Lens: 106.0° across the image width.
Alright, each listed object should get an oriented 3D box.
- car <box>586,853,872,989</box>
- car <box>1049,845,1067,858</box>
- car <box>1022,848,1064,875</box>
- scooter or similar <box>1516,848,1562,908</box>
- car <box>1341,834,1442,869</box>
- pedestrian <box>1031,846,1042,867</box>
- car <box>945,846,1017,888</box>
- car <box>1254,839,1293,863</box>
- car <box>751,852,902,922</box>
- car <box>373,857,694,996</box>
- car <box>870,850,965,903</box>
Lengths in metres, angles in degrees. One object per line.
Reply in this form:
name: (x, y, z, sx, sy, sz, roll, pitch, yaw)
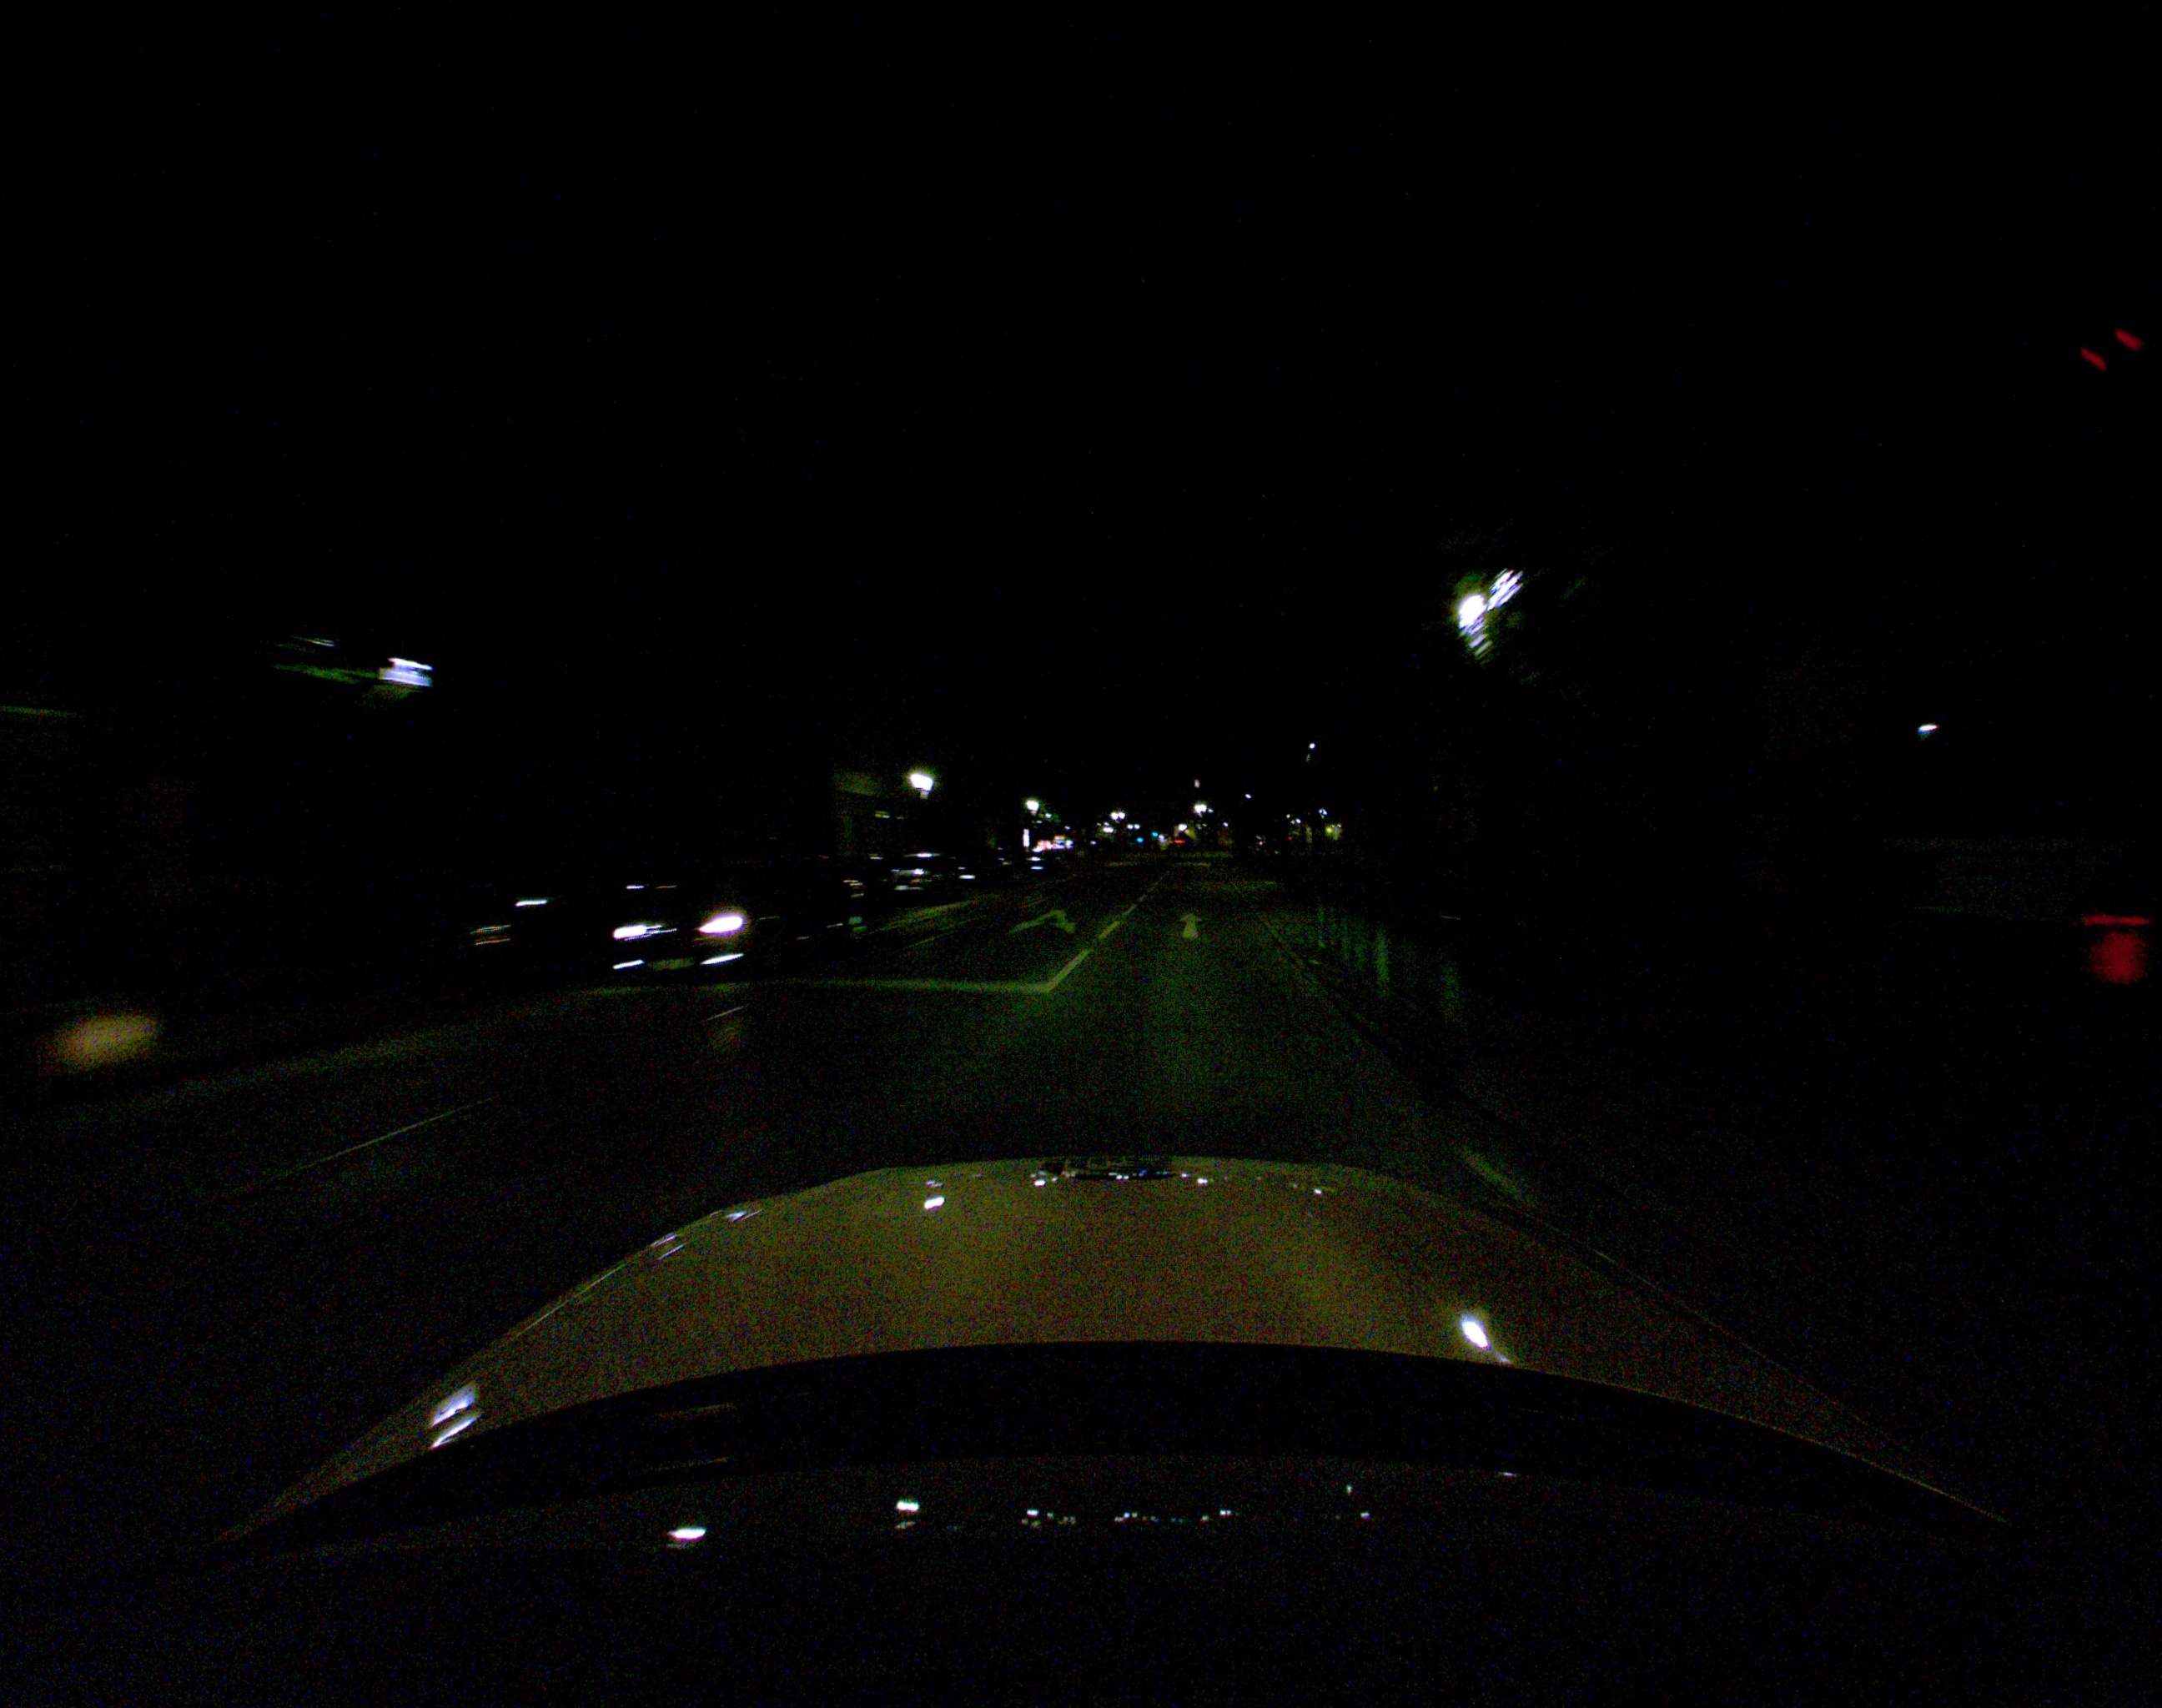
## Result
car: (-4.586, 0.779, 11.379, 1.705, 1.429, 4.010, -4, 0, 9)
car: (-3.060, -0.344, 108.990, 1.985, 1.574, 4.334, -2, 1, 4)
car: (-2.135, 0.415, 46.789, 1.775, 1.415, 4.134, -1, 1, 7)
scooter or similar: (9.175, 0.458, 16.340, 0.418, 1.130, 1.500, -3, 0, 16)
car: (15.169, -0.145, 39.994, 4.396, 1.459, 1.796, -3, 1, 13)
pedestrian: (-3.961, 0.215, 72.621, 0.729, 1.822, 0.684, 0, -1, -38)
car: (-4.130, 0.489, 34.366, 1.774, 1.581, 4.423, 0, 1, 9)
car: (12.654, -0.226, 53.684, 1.726, 1.459, 4.733, -2, 1, 4)
car: (-6.162, 0.727, 20.329, 1.773, 1.491, 4.342, 1, 1, 10)
car: (-7.543, 0.880, 11.711, 1.581, 1.491, 3.713, 1, 2, 13)
car: (-5.155, 0.659, 26.193, 1.775, 1.491, 4.009, 0, 1, 8)
